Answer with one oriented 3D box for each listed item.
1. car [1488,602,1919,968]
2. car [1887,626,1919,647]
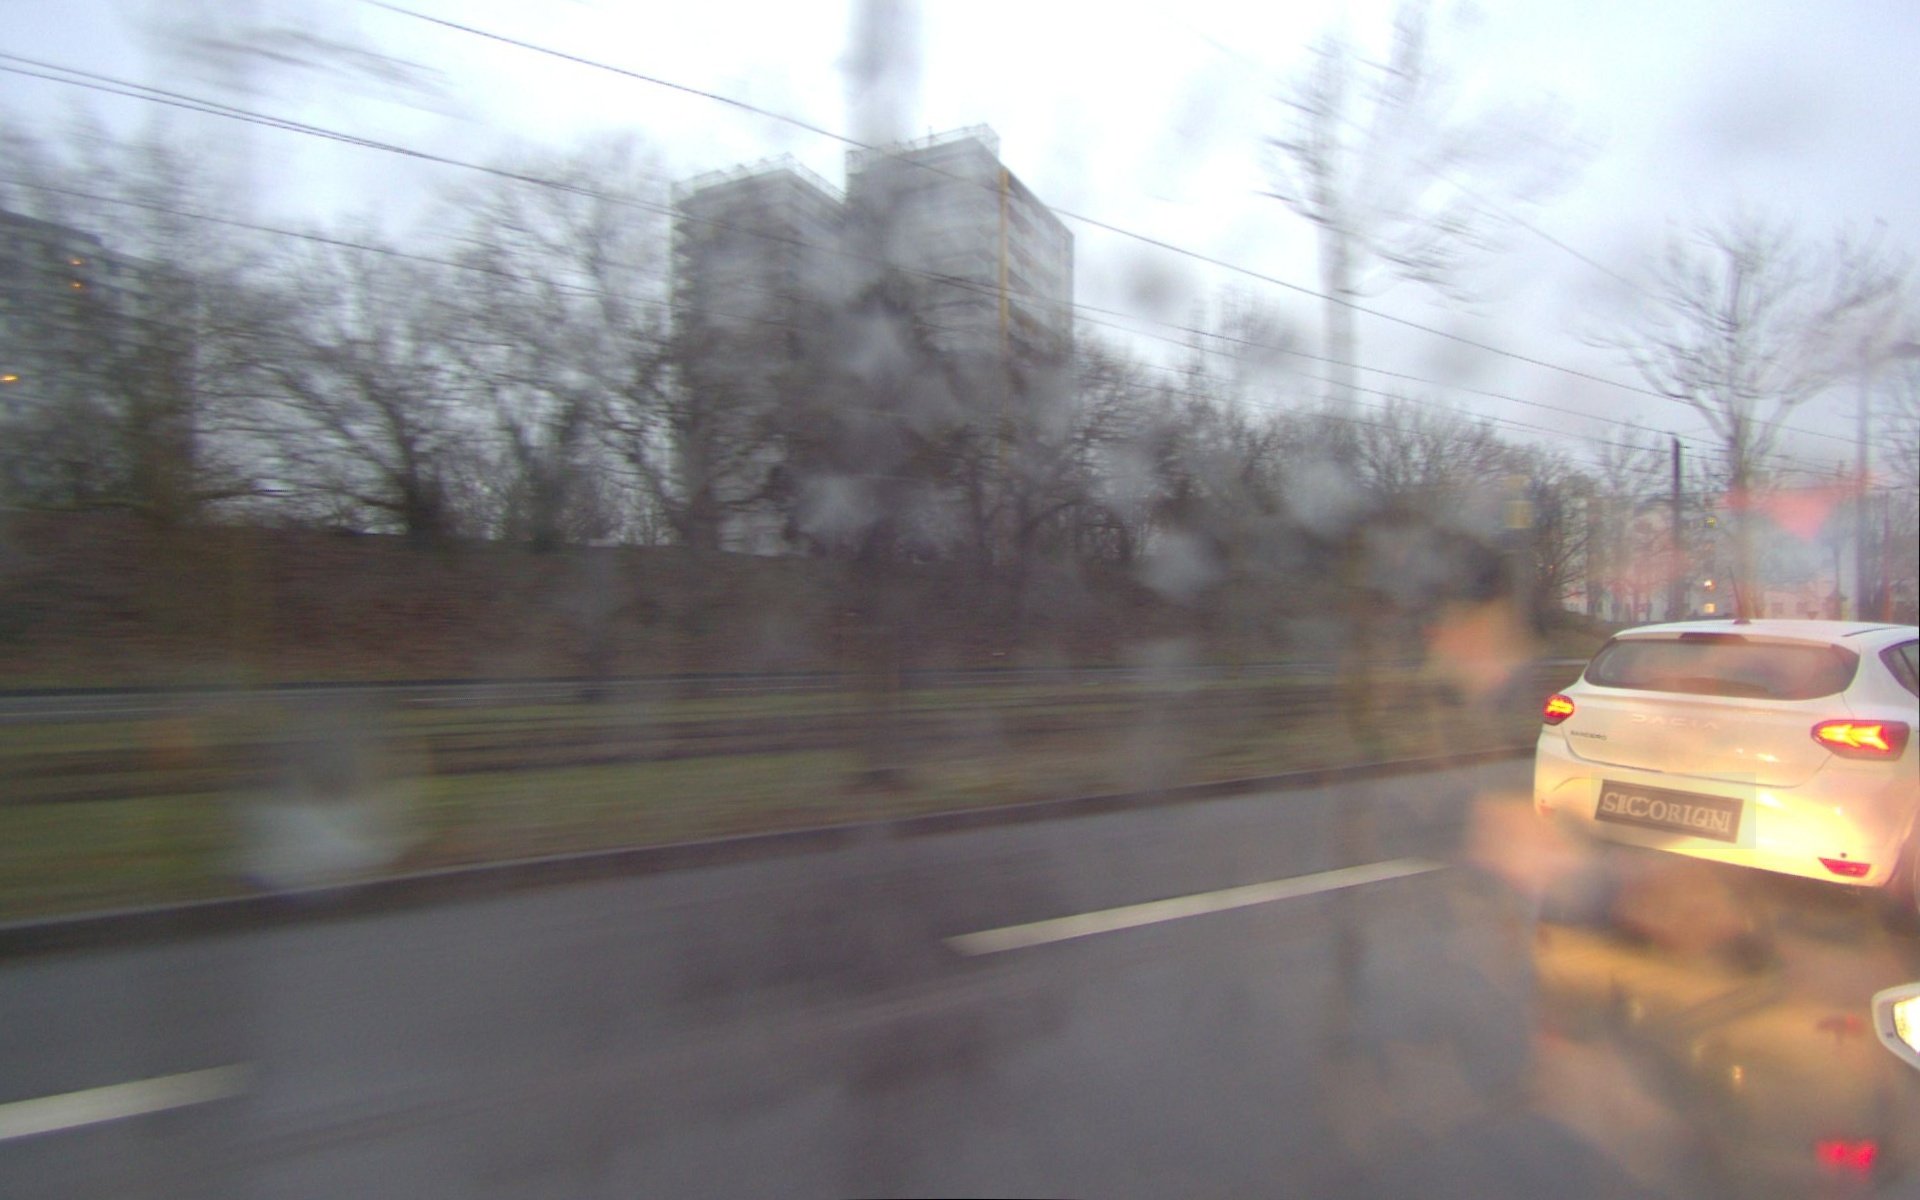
[{"bbox_3d":[5.182,0.833,6.056,4.088,1.545,1.700,1,-2,-31],"label":"car"},{"bbox_3d":[78.095,2.996,82.363,3.953,1.680,1.984,2,-1,-30],"label":"car"}]
